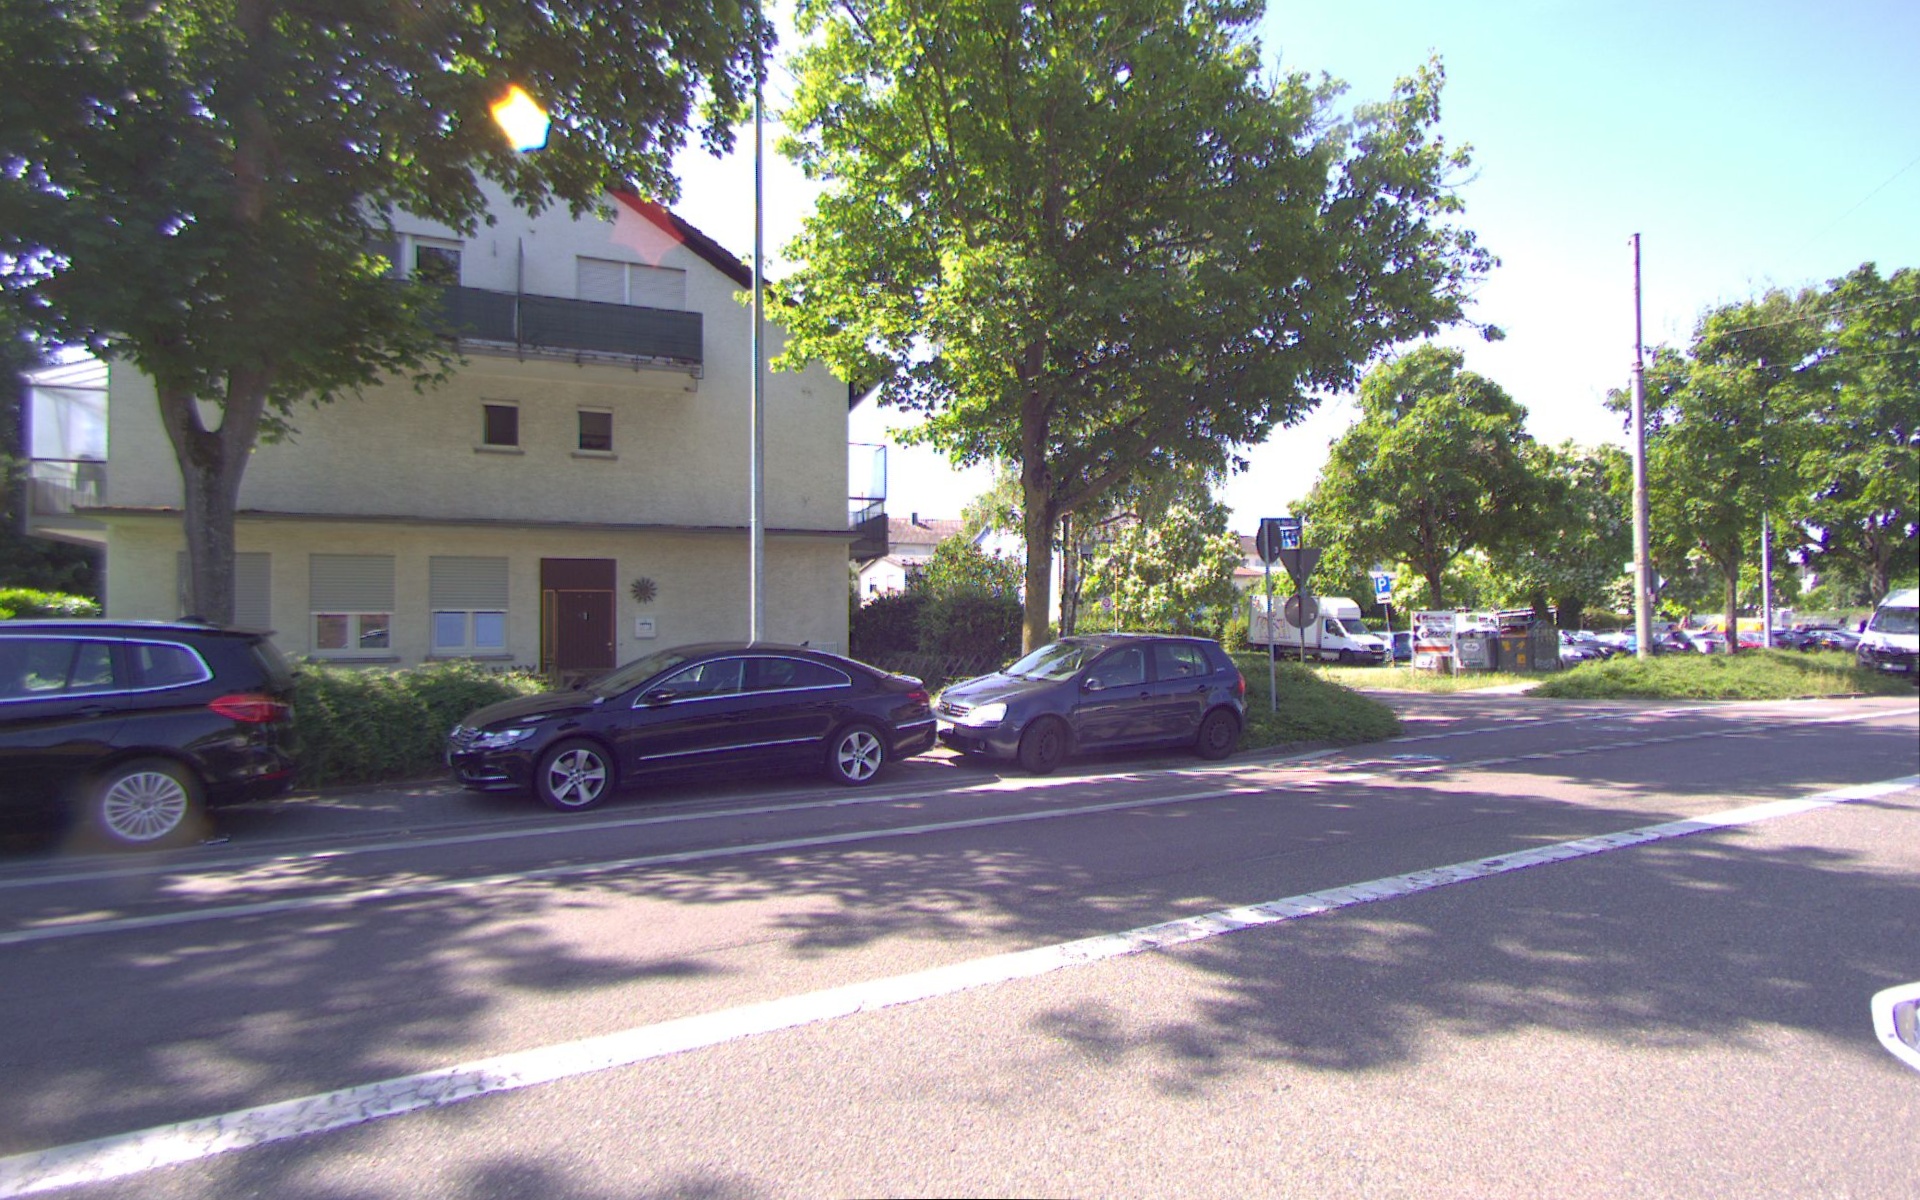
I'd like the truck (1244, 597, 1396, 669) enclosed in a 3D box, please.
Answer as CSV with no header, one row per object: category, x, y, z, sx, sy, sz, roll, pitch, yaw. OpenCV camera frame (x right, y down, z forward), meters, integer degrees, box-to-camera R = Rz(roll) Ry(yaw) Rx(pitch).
truck,17.166,1.476,48.425,2.206,3.059,7.103,1,1,-31

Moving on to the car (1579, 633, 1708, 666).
car,27.477,1.951,40.504,1.748,1.241,3.973,1,-2,-27

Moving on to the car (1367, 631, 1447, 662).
car,23.452,2.418,52.794,1.537,1.374,3.760,0,1,-25

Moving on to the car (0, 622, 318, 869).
car,-7.455,0.980,7.078,4.836,1.627,1.753,1,-1,-31

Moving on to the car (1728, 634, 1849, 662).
car,38.205,2.179,46.428,1.748,1.241,3.973,1,-2,-27

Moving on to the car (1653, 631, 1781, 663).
car,31.970,1.972,42.553,1.748,1.281,3.973,1,-2,-27

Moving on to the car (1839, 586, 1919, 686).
car,26.878,0.928,27.535,6.226,2.534,2.050,1,1,-28

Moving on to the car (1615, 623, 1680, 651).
car,47.916,2.582,70.075,1.535,1.901,3.406,1,-2,-31

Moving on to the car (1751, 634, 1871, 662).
car,40.068,2.241,47.385,1.748,1.241,3.973,1,-2,-27

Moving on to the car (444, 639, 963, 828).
car,-2.424,1.143,9.964,4.726,1.398,1.682,1,0,-31

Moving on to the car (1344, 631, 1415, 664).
car,21.354,2.371,51.190,1.537,1.452,3.123,0,1,-25

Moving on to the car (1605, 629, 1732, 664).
car,29.434,1.906,41.861,1.748,1.368,3.973,1,-2,-27

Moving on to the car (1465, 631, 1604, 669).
car,20.363,1.752,35.736,1.751,1.241,3.968,1,-2,-31

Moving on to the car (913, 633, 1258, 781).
car,1.565,1.173,12.173,3.955,1.470,1.634,1,0,-29

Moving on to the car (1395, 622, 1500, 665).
car,25.910,2.254,53.546,1.980,2.040,4.663,1,0,-34

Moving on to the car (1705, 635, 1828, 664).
car,36.226,2.201,45.242,1.748,1.241,3.973,1,-2,-27

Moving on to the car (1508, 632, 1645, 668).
car,22.619,1.820,36.998,1.751,1.241,3.968,1,-2,-31

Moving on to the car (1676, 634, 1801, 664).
car,34.013,2.131,43.994,1.748,1.241,3.973,1,-2,-27

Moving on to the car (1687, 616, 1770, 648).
car,53.627,2.209,70.162,1.980,2.040,4.228,1,0,-35

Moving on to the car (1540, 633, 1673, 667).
car,24.711,1.881,38.556,1.748,1.241,3.973,1,-2,-27
